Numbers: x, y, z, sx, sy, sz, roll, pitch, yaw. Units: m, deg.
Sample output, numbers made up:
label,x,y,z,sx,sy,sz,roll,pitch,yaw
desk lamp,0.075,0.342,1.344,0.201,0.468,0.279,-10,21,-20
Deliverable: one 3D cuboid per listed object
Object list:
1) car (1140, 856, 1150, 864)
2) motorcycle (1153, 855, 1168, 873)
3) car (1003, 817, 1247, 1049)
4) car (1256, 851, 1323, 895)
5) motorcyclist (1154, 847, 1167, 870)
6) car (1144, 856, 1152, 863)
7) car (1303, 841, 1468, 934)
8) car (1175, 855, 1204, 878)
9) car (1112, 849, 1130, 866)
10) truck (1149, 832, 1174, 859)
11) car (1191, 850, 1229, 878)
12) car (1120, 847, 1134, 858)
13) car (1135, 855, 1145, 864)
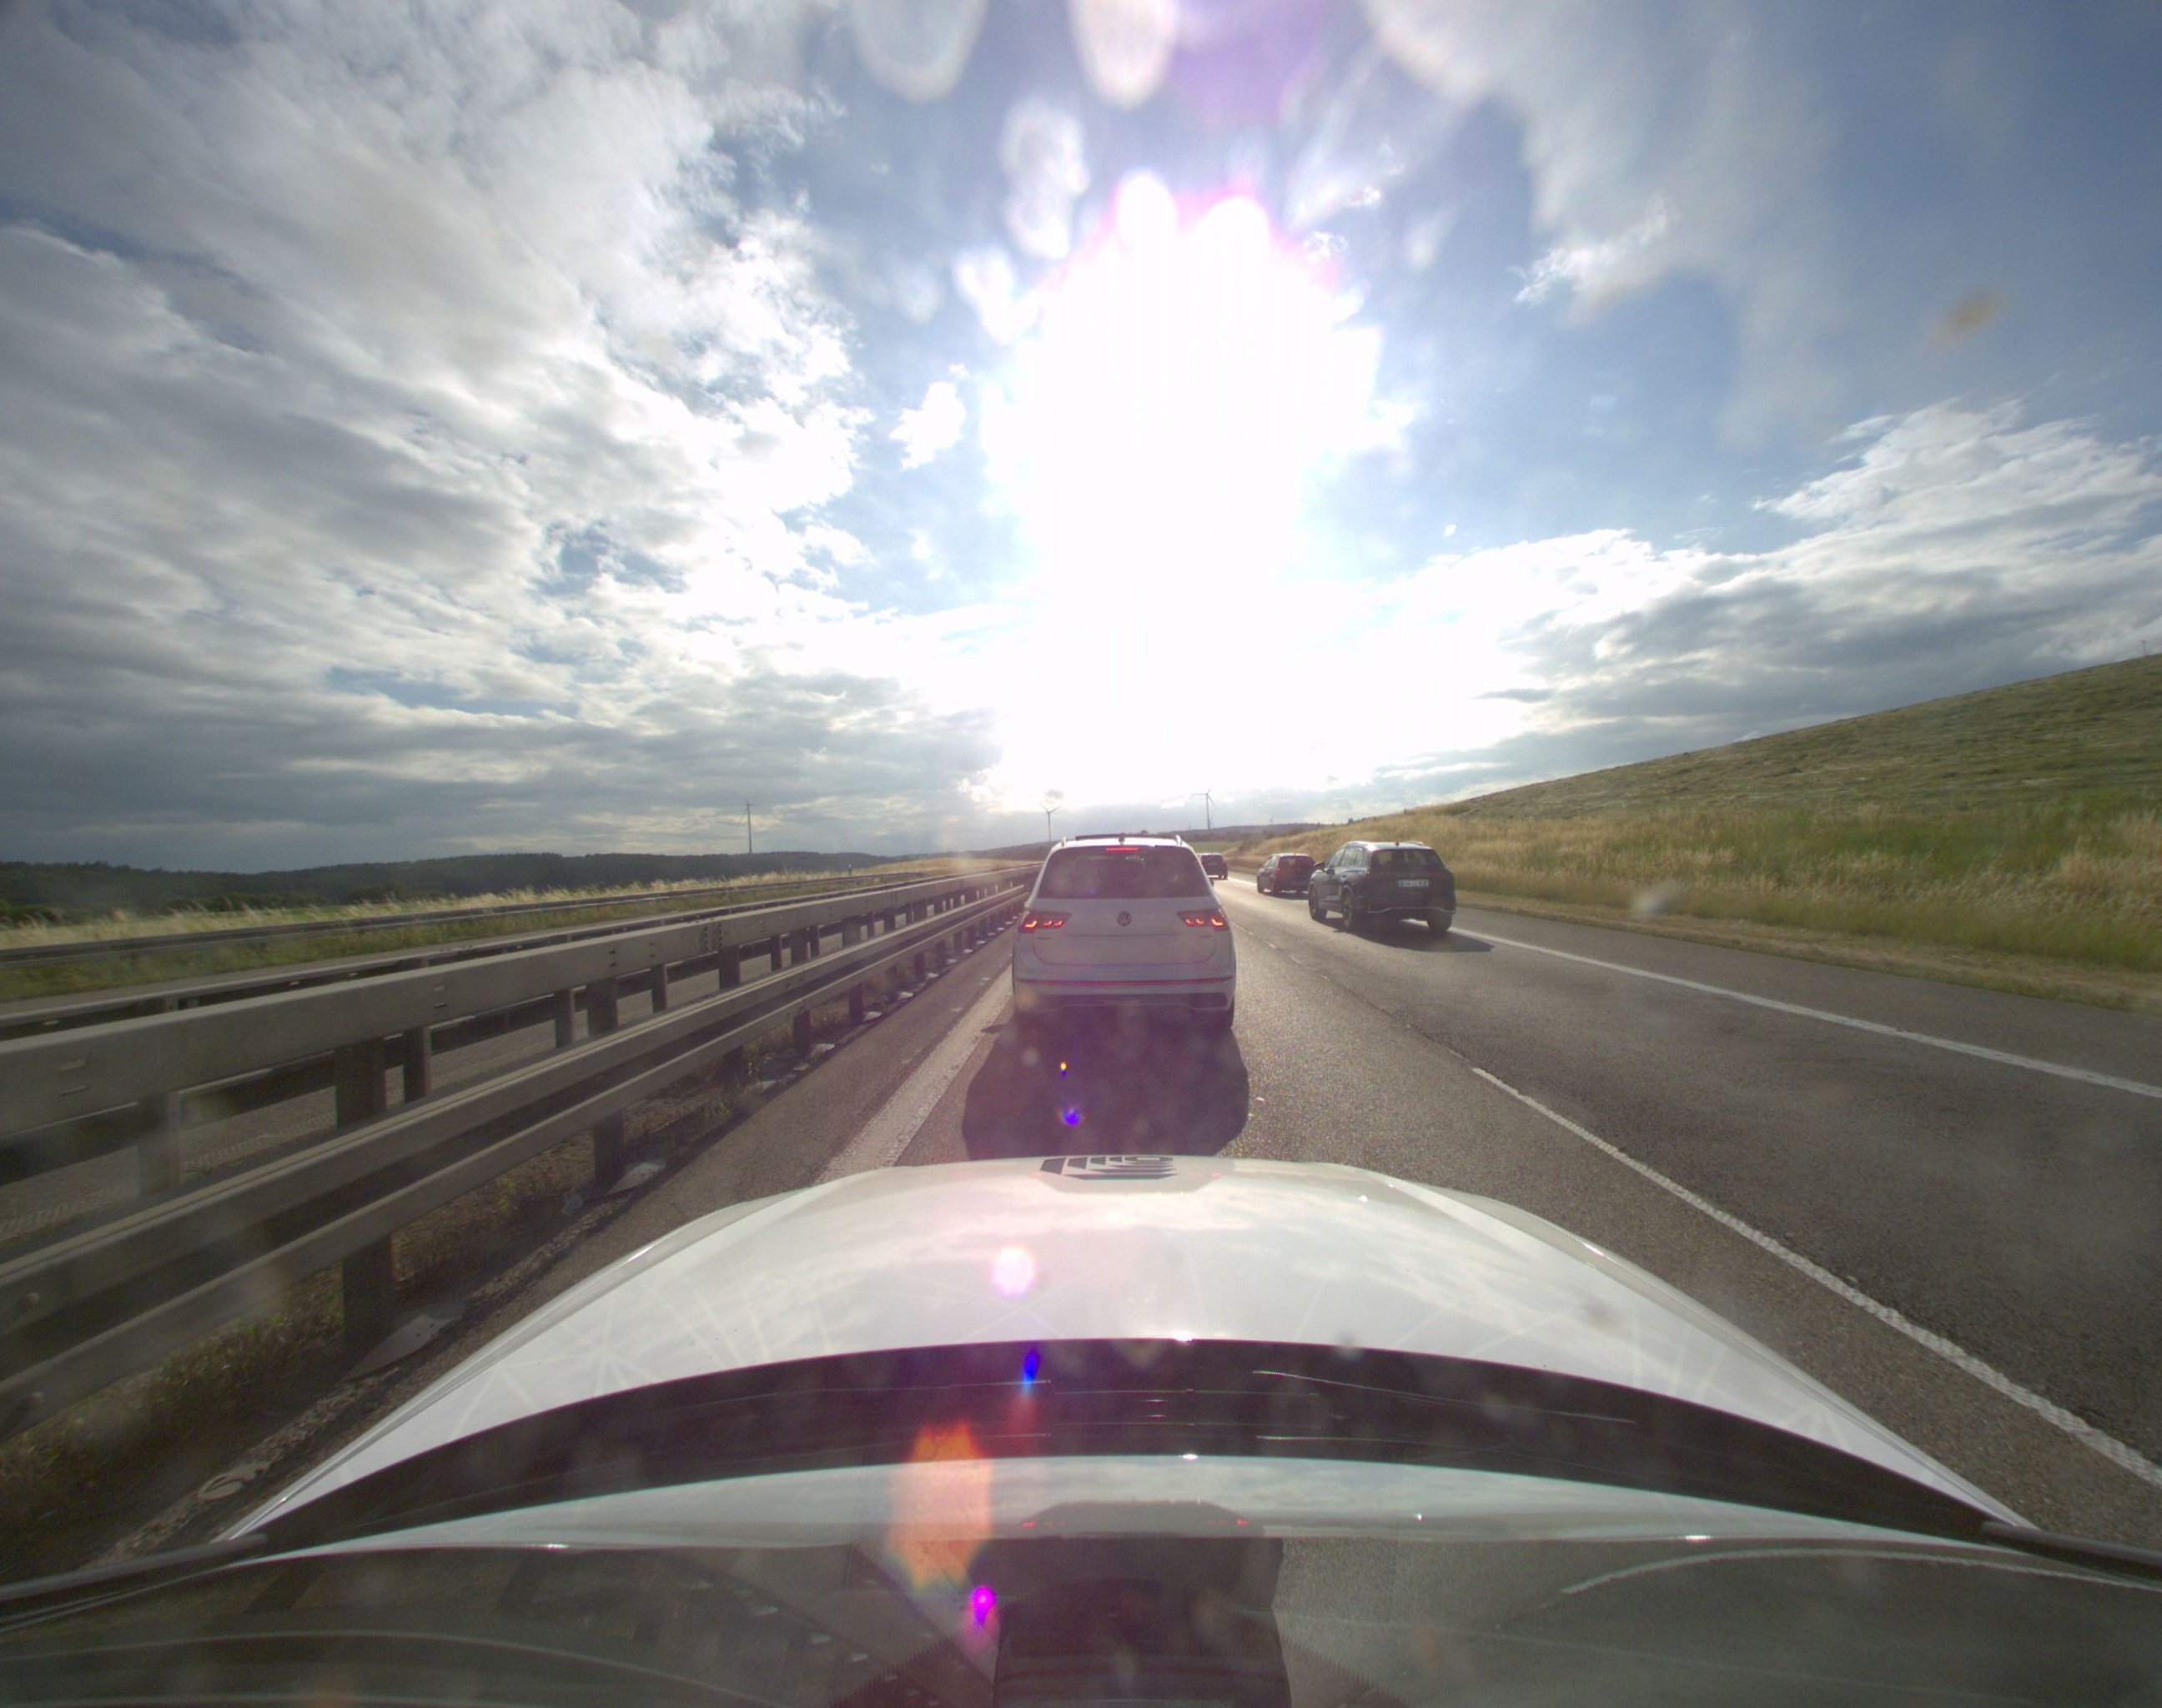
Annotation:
label,x,y,z,sx,sy,sz,roll,pitch,yaw
car,12.610,1.165,160.858,1.697,1.546,4.002,-1,0,2
motorcycle,5.569,0.704,57.137,0.892,1.190,2.257,-1,0,1
car,0.387,0.590,8.003,1.763,1.675,4.002,-1,0,2
car,7.256,0.646,28.646,1.599,1.420,3.675,-1,0,3
motorcyclist,5.562,0.318,57.095,0.846,1.560,0.934,-1,-1,1
car,15.713,1.259,191.592,1.697,1.546,4.002,-1,0,2
car,5.821,0.586,16.143,1.814,1.601,4.236,0,0,2
car,8.025,0.901,60.521,1.697,1.650,4.002,-1,0,2
car,4.014,0.367,82.058,1.697,1.650,4.002,-1,0,2
truck,11.459,-1.220,116.884,3.170,3.593,11.142,-1,0,4
car,7.443,0.553,47.394,1.697,1.546,4.002,-1,0,2
car,6.319,-0.185,112.001,1.697,1.546,4.002,-1,0,2
car,10.797,0.999,148.696,1.697,1.546,4.002,-1,0,2
